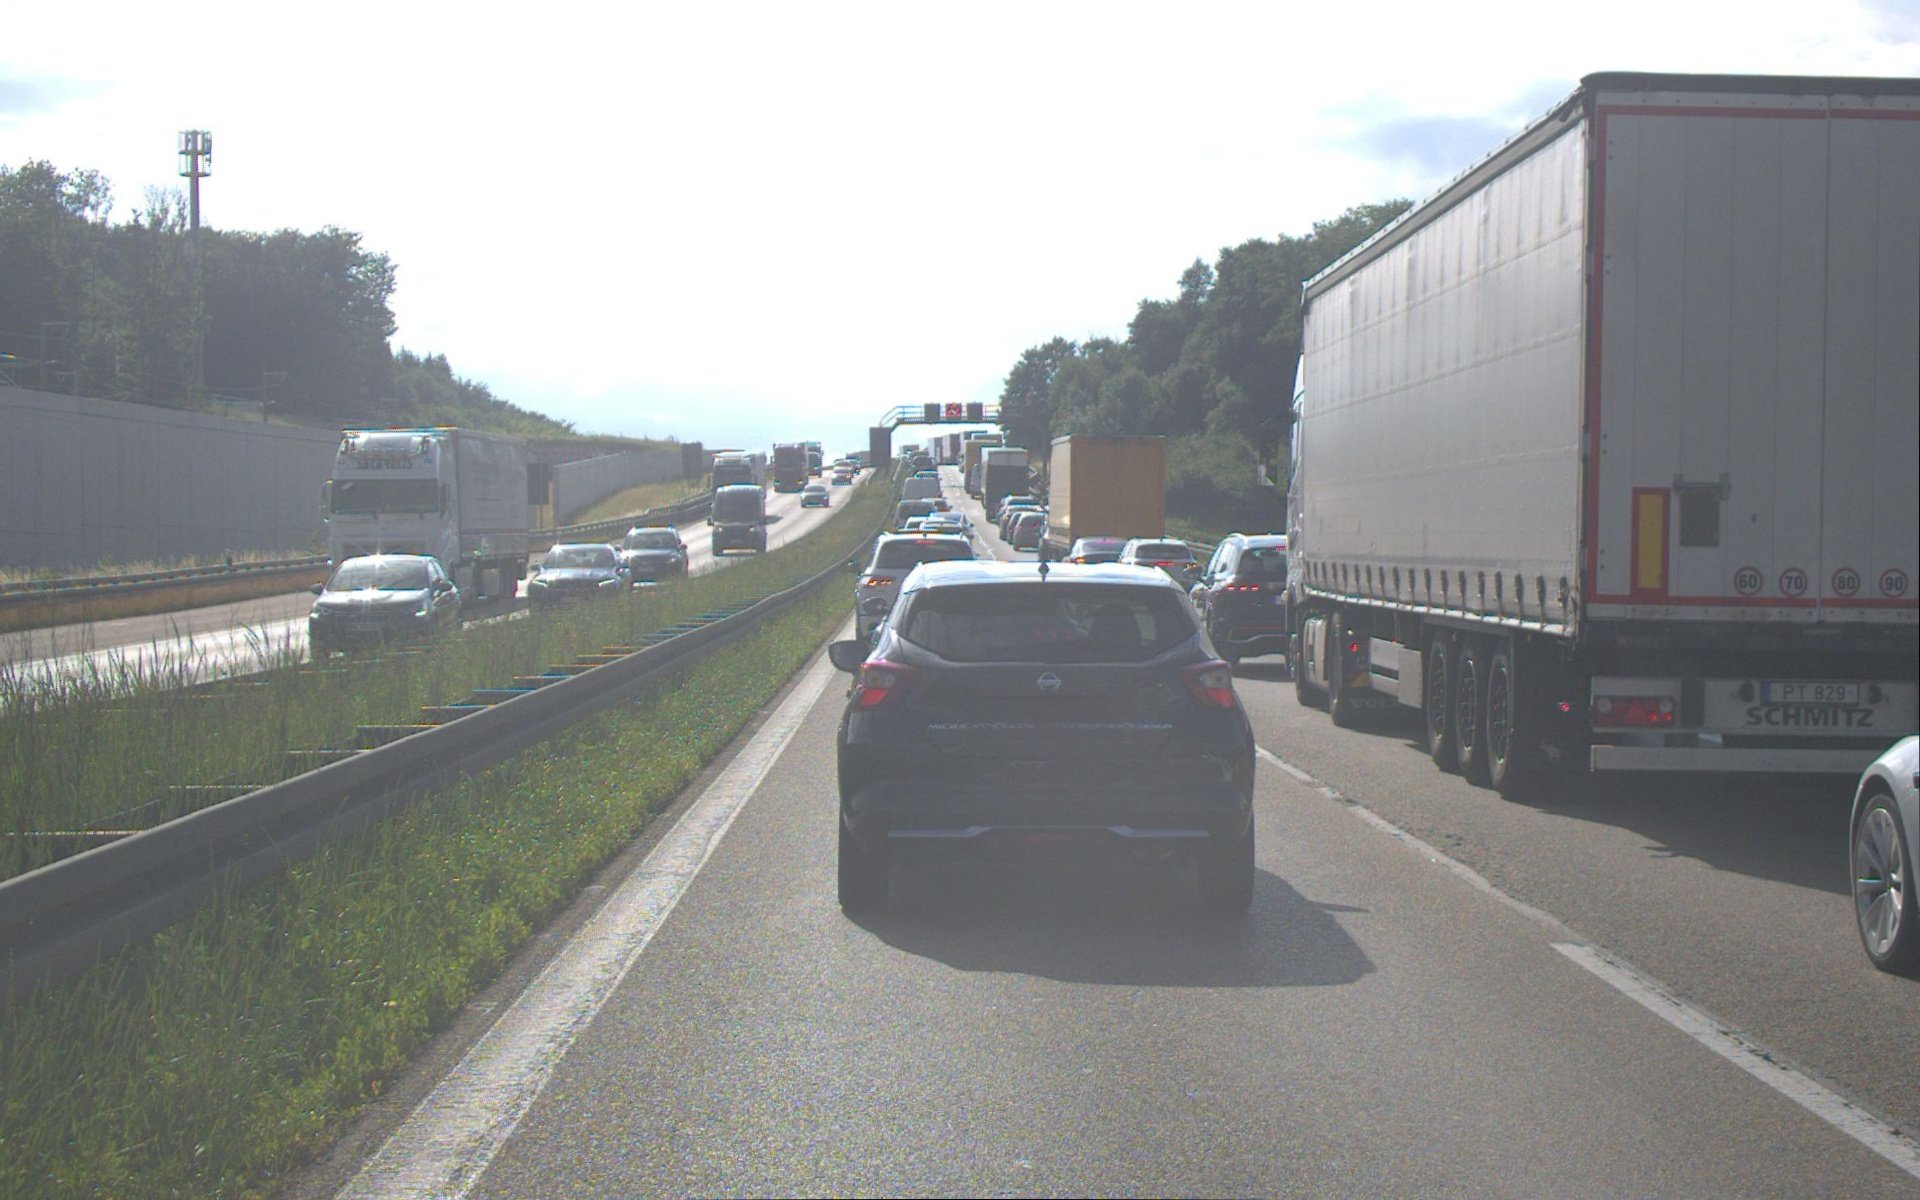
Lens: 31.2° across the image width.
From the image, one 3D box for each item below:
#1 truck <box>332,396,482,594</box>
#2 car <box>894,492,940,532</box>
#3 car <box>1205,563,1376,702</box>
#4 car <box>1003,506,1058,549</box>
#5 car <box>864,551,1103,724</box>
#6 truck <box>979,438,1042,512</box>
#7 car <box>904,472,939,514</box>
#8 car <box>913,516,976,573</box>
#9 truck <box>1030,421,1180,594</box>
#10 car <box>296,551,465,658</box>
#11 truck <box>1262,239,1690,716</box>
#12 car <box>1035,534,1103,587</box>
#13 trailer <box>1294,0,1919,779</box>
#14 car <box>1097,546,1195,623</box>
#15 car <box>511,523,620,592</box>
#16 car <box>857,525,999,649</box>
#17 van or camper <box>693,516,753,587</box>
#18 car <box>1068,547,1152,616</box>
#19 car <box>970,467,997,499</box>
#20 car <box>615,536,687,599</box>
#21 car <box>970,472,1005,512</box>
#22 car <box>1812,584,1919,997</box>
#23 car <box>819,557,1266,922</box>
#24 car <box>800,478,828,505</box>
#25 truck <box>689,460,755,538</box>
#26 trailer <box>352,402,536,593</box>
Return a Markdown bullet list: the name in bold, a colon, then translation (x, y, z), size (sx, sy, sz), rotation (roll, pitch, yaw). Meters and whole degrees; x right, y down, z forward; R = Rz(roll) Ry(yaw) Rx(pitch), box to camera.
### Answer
- **truck**: translation (-12.171, -2.262, 76.085), size (2.380, 4.167, 5.932), rotation (-1, 0, -1)
- **car**: translation (-1.807, -3.724, 144.804), size (1.873, 1.638, 4.233), rotation (0, 2, -2)
- **car**: translation (3.965, 0.352, 41.819), size (1.697, 1.605, 4.437), rotation (0, 1, 1)
- **car**: translation (2.862, -2.971, 140.312), size (1.873, 1.638, 4.233), rotation (0, 2, -4)
- **car**: translation (0.175, 0.275, 29.146), size (1.873, 1.353, 4.232), rotation (0, 1, 0)
- **truck**: translation (3.193, -8.087, 222.919), size (3.464, 4.561, 12.443), rotation (1, 2, -2)
- **car**: translation (-2.125, -5.902, 188.996), size (1.873, 2.151, 5.212), rotation (0, 3, -1)
- **car**: translation (-0.476, -1.719, 105.329), size (1.873, 1.638, 4.233), rotation (0, 2, 0)
- **truck**: translation (4.005, -2.482, 97.899), size (3.296, 4.562, 12.441), rotation (1, 0, -2)
- **car**: translation (-8.308, 0.049, 49.549), size (1.769, 1.474, 3.829), rotation (0, 0, 0)
- **truck**: translation (4.592, -1.030, 31.653), size (3.133, 4.002, 5.163), rotation (1, 0, 0)
- **car**: translation (3.442, -1.258, 109.383), size (1.873, 1.638, 4.233), rotation (0, 1, -2)
- **trailer**: translation (4.594, -1.058, 24.291), size (3.130, 3.997, 13.366), rotation (1, 0, 0)
- **car**: translation (4.025, -0.346, 75.025), size (1.873, 1.638, 4.232), rotation (0, 1, 0)
- **car**: translation (-7.943, -0.858, 69.570), size (1.742, 1.353, 4.232), rotation (0, 1, 0)
- **car**: translation (-0.434, -0.194, 47.507), size (1.873, 1.638, 4.232), rotation (0, 1, 0)
- **van or camper**: translation (-9.601, -1.941, 139.687), size (2.090, 2.810, 5.895), rotation (1, 0, -1)
- **car**: translation (3.690, -0.488, 85.106), size (1.873, 1.638, 4.232), rotation (0, 1, 0)
- **car**: translation (1.724, -8.598, 252.383), size (1.873, 2.151, 5.212), rotation (0, 3, -1)
- **car**: translation (-8.574, -0.905, 95.661), size (1.708, 1.700, 4.174), rotation (0, 1, -1)
- **car**: translation (1.555, -6.216, 197.278), size (1.873, 2.151, 5.212), rotation (0, 3, -1)
- **car**: translation (4.197, 0.671, 10.752), size (1.788, 1.389, 4.437), rotation (0, 1, -2)
- **car**: translation (0.315, 0.532, 15.782), size (1.773, 1.446, 4.232), rotation (0, 1, 0)
- **car**: translation (-9.955, -7.375, 234.636), size (1.744, 1.700, 4.233), rotation (-3, 1, -2)
- **truck**: translation (-14.384, -6.069, 208.541), size (3.297, 4.561, 12.442), rotation (0, 1, -1)
- **trailer**: translation (-12.176, -2.322, 82.276), size (2.389, 4.168, 13.204), rotation (-1, 1, 0)
